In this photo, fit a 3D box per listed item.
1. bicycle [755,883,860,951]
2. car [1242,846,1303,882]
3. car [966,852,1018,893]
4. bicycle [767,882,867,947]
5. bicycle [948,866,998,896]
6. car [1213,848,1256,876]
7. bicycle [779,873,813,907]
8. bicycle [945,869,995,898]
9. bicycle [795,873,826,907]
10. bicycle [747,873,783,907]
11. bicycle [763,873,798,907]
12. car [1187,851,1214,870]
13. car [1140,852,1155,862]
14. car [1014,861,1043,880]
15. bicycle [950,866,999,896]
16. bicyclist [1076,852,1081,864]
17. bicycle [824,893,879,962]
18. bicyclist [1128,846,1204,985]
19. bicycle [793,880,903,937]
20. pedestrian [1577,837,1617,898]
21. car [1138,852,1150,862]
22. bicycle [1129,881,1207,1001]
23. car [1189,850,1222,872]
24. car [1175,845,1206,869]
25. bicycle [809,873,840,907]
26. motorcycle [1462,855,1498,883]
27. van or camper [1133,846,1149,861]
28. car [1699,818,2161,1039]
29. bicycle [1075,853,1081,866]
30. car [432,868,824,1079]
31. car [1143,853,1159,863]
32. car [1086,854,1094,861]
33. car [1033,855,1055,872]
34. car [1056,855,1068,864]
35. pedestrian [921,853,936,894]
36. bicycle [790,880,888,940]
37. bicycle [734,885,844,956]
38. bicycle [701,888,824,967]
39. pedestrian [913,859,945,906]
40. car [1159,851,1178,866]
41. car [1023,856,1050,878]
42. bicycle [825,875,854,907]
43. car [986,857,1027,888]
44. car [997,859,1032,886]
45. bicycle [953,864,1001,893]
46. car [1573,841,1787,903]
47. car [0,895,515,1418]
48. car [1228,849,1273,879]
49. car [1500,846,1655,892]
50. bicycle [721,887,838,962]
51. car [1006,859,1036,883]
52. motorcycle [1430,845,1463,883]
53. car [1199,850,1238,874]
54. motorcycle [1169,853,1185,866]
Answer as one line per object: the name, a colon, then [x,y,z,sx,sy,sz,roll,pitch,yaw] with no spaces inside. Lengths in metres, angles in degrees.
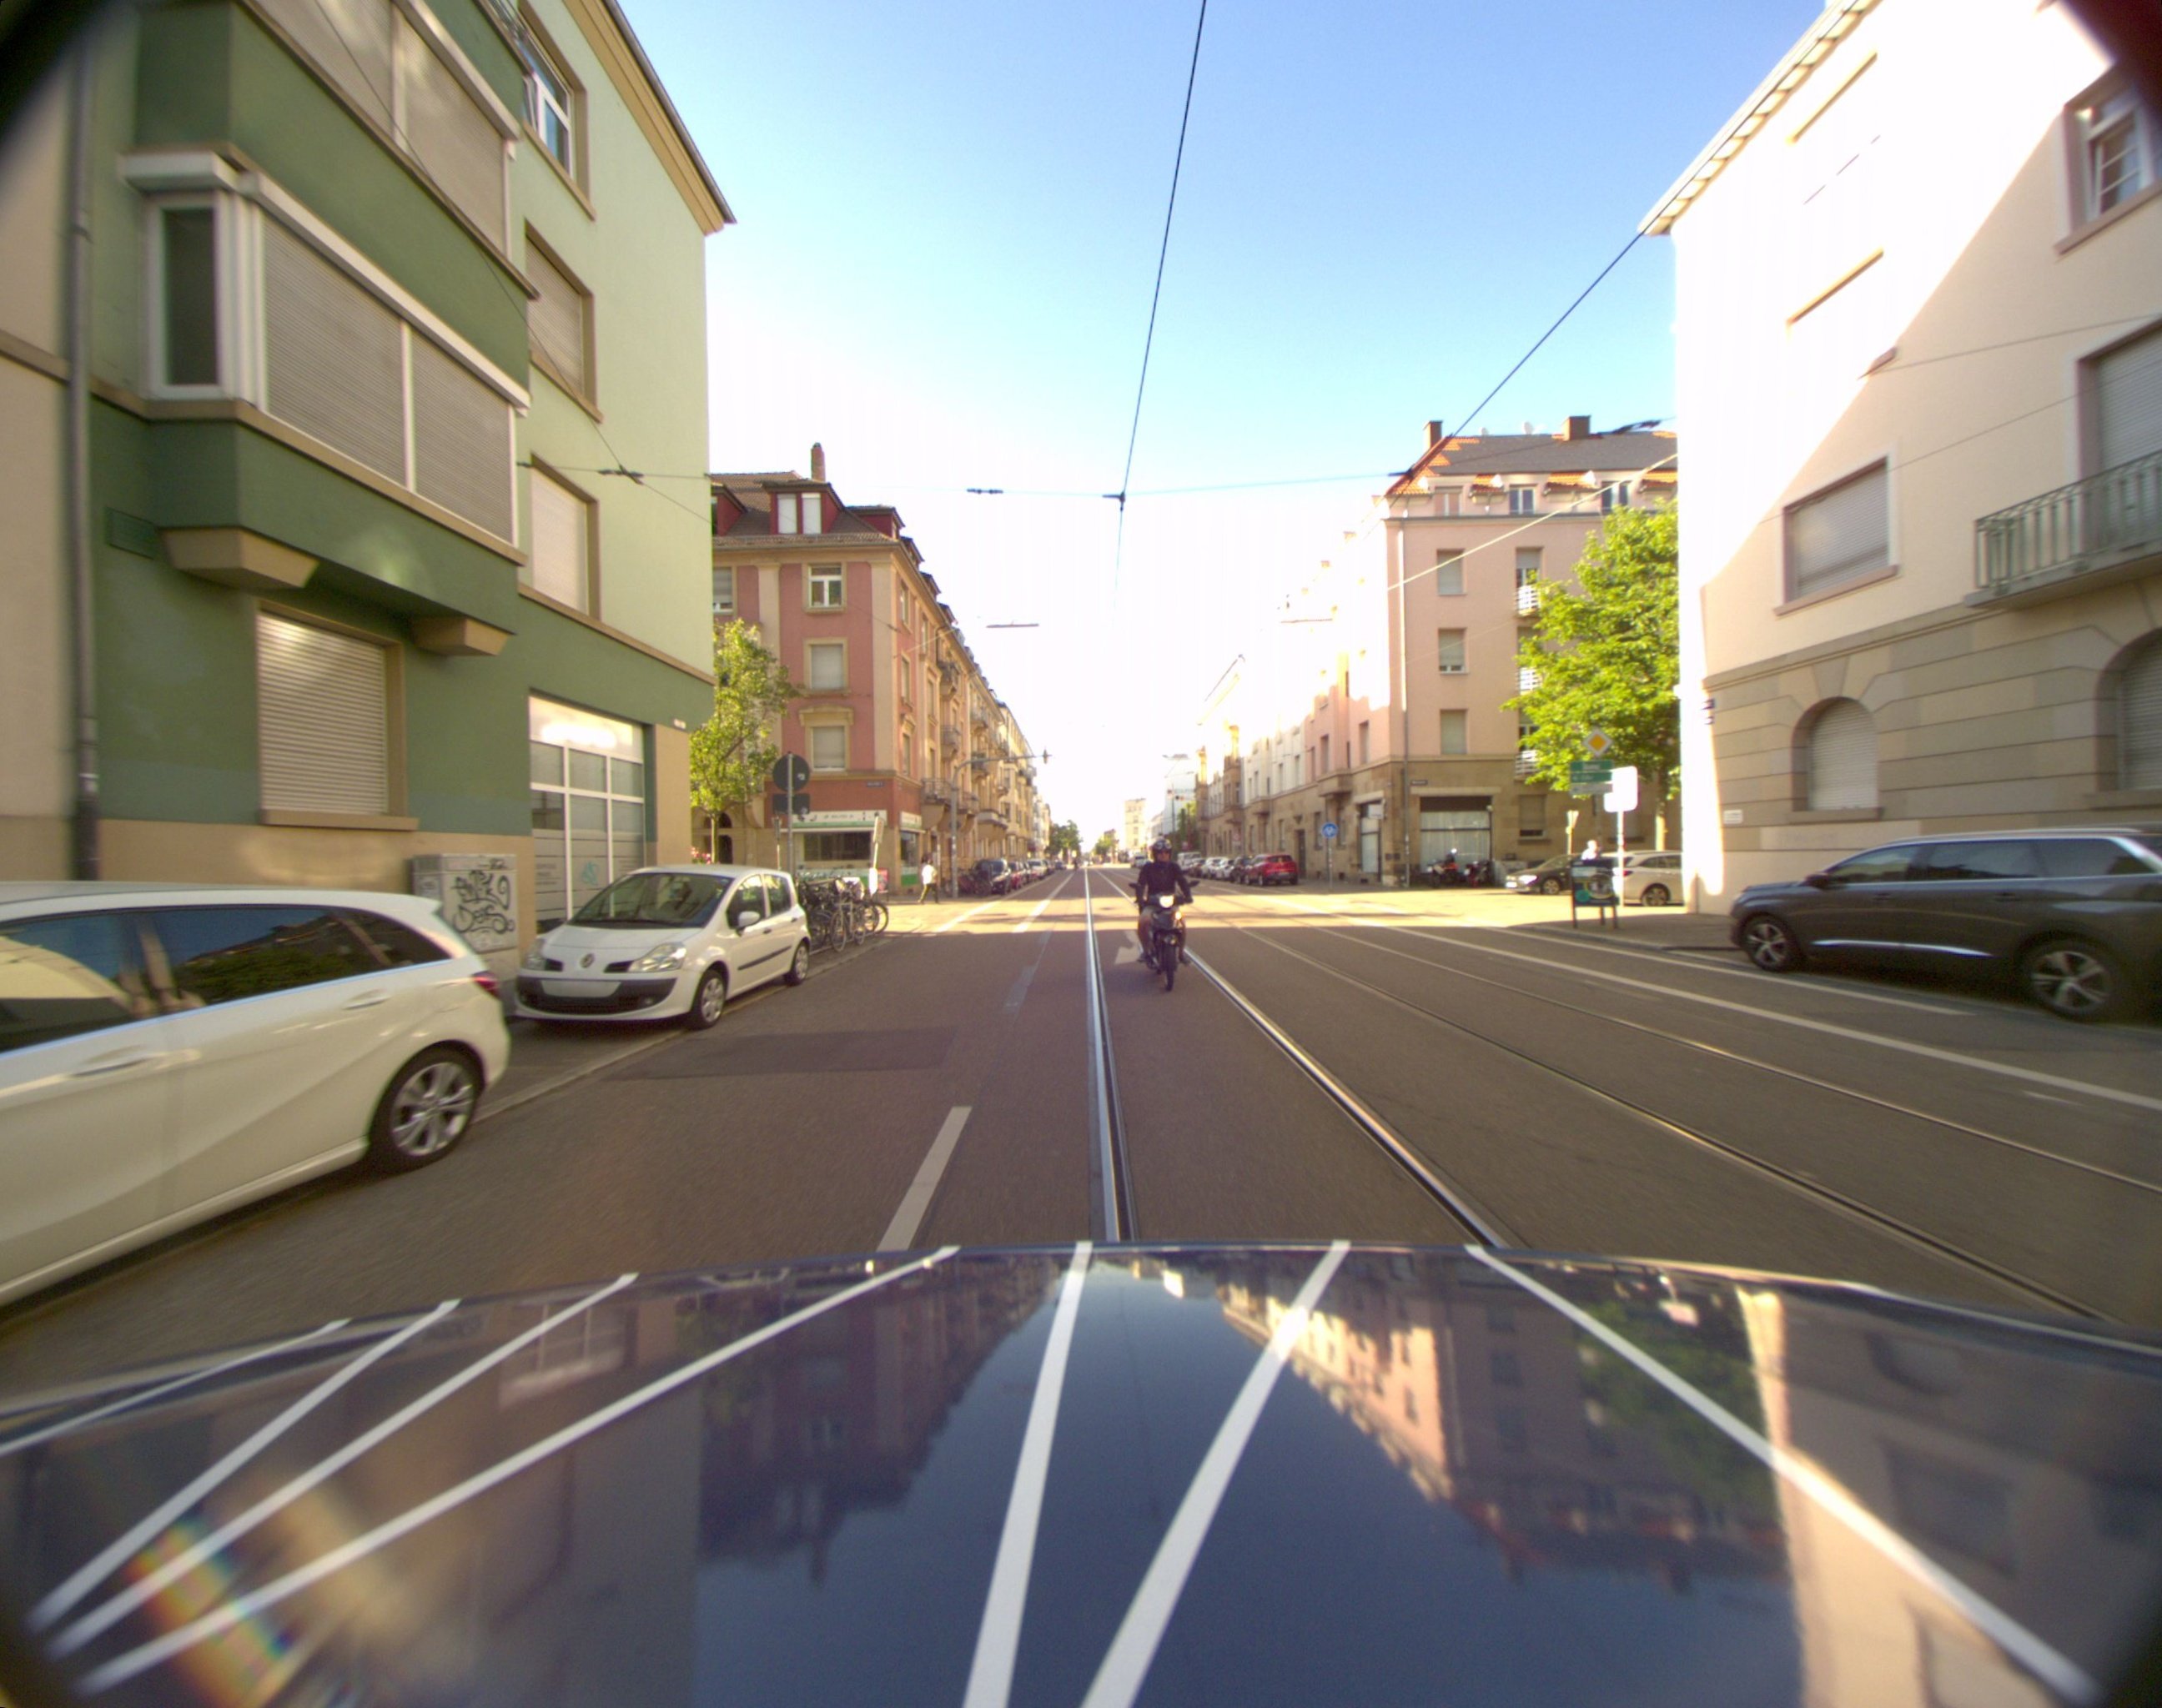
bicycle: [-5.014,1.142,13.963,1.727,1.148,0.469,2,1,1]
car: [9.607,0.471,38.454,1.788,1.597,4.396,-3,0,-1]
car: [-4.089,0.800,35.624,1.757,1.725,4.506,2,0,1]
bicycle: [-5.025,1.154,14.511,1.727,1.148,0.469,2,1,1]
bicycle: [-4.426,1.095,31.266,1.964,1.220,0.527,0,1,1]
car: [9.864,0.516,49.103,1.788,1.612,4.178,-3,0,-1]
bicycle: [-10.371,1.290,27.726,0.545,1.148,1.728,-2,0,0]
bicycle: [-4.468,1.194,30.688,1.928,1.154,0.527,0,1,1]
bicycle: [-9.837,1.277,27.719,0.469,1.148,1.728,-2,0,0]
bicycle: [-11.515,1.309,27.723,0.545,1.148,1.728,-2,0,0]
bicycle: [-10.944,1.309,27.717,0.545,1.148,1.728,-2,0,0]
car: [10.046,0.566,64.078,1.607,1.464,3.646,-3,0,1]
car: [10.242,0.473,117.635,1.788,1.472,4.699,-3,0,0]
car: [-3.907,1.237,57.269,1.658,1.242,4.505,-2,0,3]
bicycle: [-4.439,1.137,31.828,1.964,1.220,0.527,0,1,1]
bicyclist: [-0.334,0.557,103.536,0.509,1.692,0.845,-2,1,0]
bicycle: [-4.035,1.261,13.472,0.353,1.038,1.728,-1,0,2]
bicyclist: [0.973,0.689,8.930,0.774,1.531,0.939,-2,1,2]
bicycle: [-5.011,1.162,16.440,2.091,1.148,0.848,1,0,1]
pedestrian: [14.643,0.378,21.575,0.608,1.702,0.732,-2,1,0]
car: [10.456,0.479,126.672,1.787,1.390,4.445,-3,0,2]
bicycle: [0.981,0.960,8.959,0.767,1.191,1.752,-2,0,3]
car: [9.673,0.529,59.356,1.788,1.515,4.359,-3,0,0]
car: [9.936,0.271,69.276,1.978,1.937,5.251,-3,0,0]
bicycle: [-9.338,1.281,27.708,0.469,1.148,1.728,-2,0,0]
motorcycle: [15.566,0.571,29.619,2.039,1.029,0.555,-2,0,-43]
van or camper: [10.476,-0.024,133.736,2.177,2.453,6.231,-3,0,0]
car: [9.280,0.556,7.881,1.788,1.680,4.667,-3,0,-1]
bicycle: [-0.350,0.762,103.529,0.775,1.700,1.937,-2,0,0]
car: [-4.429,1.030,8.288,1.788,1.622,4.000,-1,0,1]
car: [10.249,0.571,111.581,1.787,1.437,4.841,-3,0,1]
car: [2.193,0.938,183.777,1.970,1.577,4.000,-2,0,1]
car: [-3.882,1.022,80.257,1.863,1.656,4.562,-2,0,2]
car: [-3.078,0.906,123.518,1.714,1.399,4.358,1,0,2]
pedestrian: [-6.372,0.802,31.777,0.514,1.677,0.448,-2,1,0]
bicycle: [-4.996,1.157,15.748,1.847,1.148,0.469,2,1,1]
bicycle: [-5.089,1.156,13.284,1.727,1.148,0.469,2,1,1]
bicycle: [-5.027,1.147,12.035,1.727,1.148,0.469,2,1,1]
pedestrian: [-5.480,1.012,27.341,0.730,1.624,0.704,-2,2,34]
car: [10.017,0.471,87.418,1.787,1.556,4.611,-3,0,3]
car: [-3.659,1.032,63.281,1.847,1.681,4.504,-2,0,1]
bicycle: [-8.825,1.338,27.825,0.469,1.043,1.728,-2,0,0]
car: [-4.079,1.009,42.179,1.757,1.585,3.730,-2,0,2]
car: [-4.062,1.118,46.891,1.658,1.504,4.474,-2,0,1]
bicycle: [-4.440,1.042,32.398,1.964,1.220,0.527,0,1,1]
car: [15.729,0.472,20.116,4.228,1.456,1.783,-2,-1,0]
car: [-4.414,1.065,2.491,1.788,1.567,4.326,-1,0,1]
car: [9.542,0.522,42.976,1.787,1.543,3.019,-3,0,1]
car: [16.529,0.516,25.439,3.997,1.385,1.748,-2,-1,0]
bicycle: [-5.011,1.157,12.662,1.727,1.148,0.469,2,1,1]
car: [-4.040,1.132,51.843,1.658,1.474,4.473,-2,0,0]
motorcycle: [14.288,0.374,29.650,0.948,1.410,2.029,-1,1,31]
car: [9.739,0.552,54.076,1.776,1.538,4.365,-3,0,-1]
motorcycle: [10.246,0.602,81.091,0.884,1.343,1.961,-2,0,33]
